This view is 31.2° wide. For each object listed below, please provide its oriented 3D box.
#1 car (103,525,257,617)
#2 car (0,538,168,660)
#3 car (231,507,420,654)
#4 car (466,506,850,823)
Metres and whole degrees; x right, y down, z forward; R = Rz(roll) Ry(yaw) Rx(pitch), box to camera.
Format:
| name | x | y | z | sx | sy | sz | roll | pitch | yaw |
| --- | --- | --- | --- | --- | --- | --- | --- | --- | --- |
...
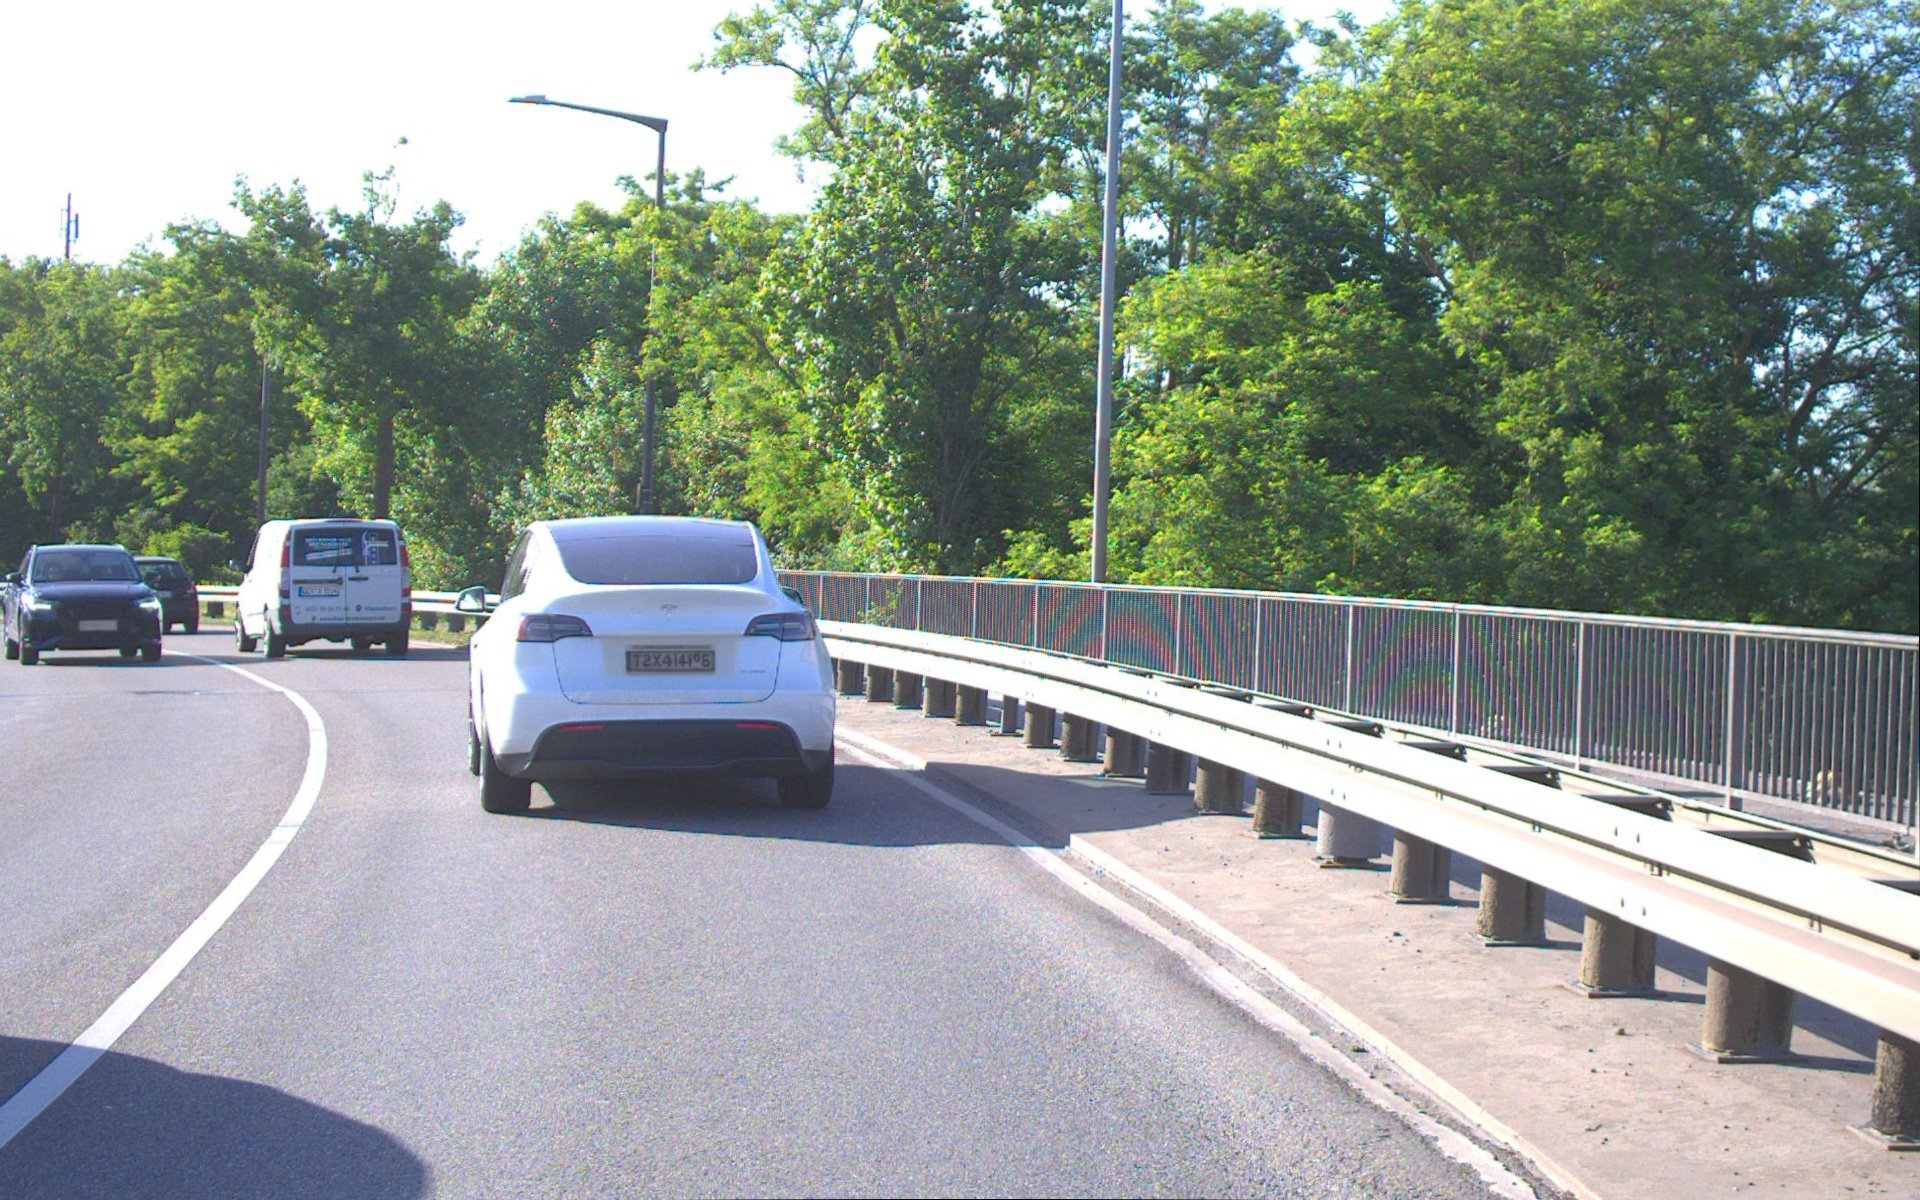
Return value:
| name | x | y | z | sx | sy | sz | roll | pitch | yaw |
| --- | --- | --- | --- | --- | --- | --- | --- | --- | --- |
| car | -14.564 | -0.528 | 64.018 | 1.968 | 1.632 | 4.001 | -2 | 1 | -25 |
| car | -11.884 | -0.058 | 46.446 | 1.823 | 1.546 | 4.186 | -1 | 1 | -20 |
| car | -8.864 | -0.310 | 47.776 | 2.004 | 1.934 | 4.469 | -1 | 1 | -18 |
| car | -1.839 | 0.295 | 19.858 | 1.985 | 1.632 | 4.064 | 0 | 1 | -8 |
